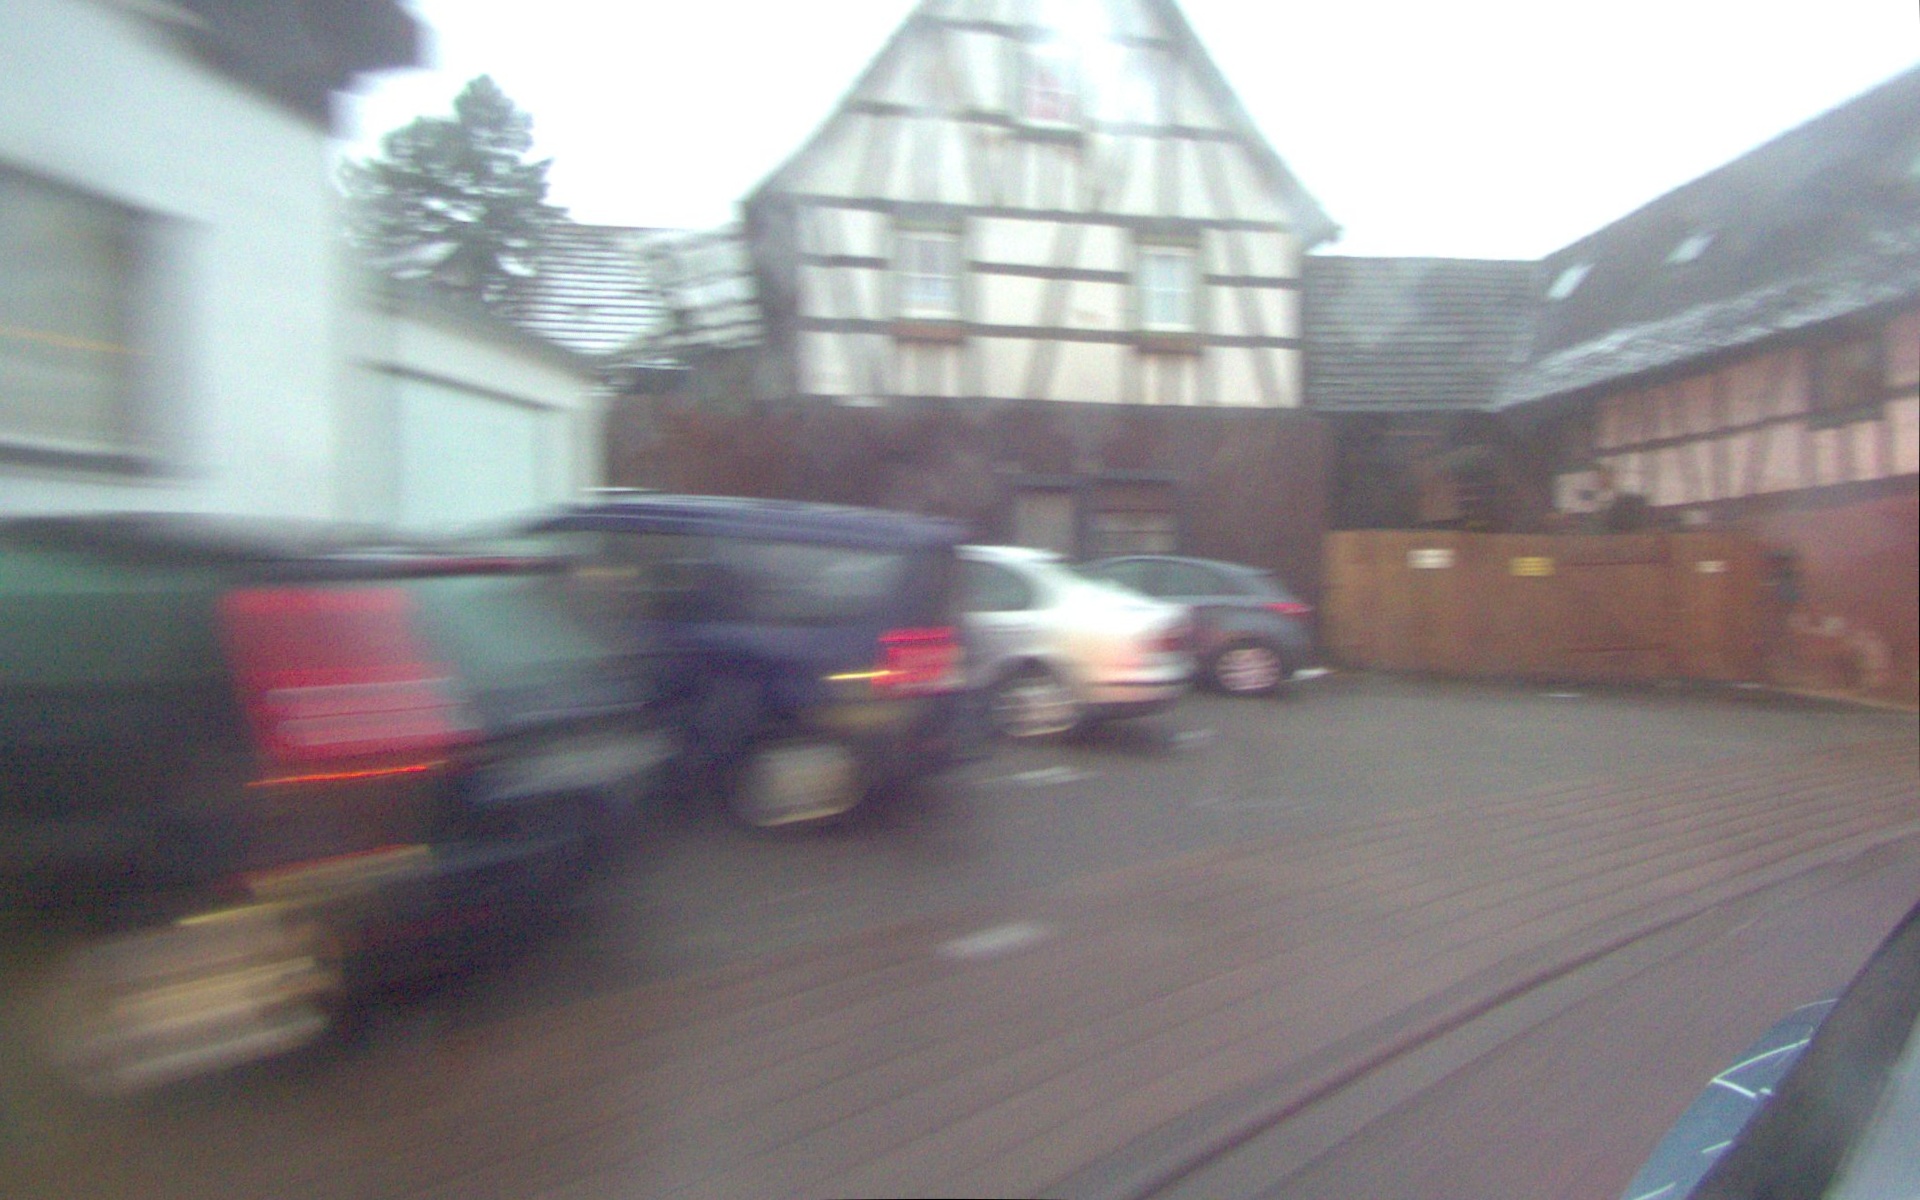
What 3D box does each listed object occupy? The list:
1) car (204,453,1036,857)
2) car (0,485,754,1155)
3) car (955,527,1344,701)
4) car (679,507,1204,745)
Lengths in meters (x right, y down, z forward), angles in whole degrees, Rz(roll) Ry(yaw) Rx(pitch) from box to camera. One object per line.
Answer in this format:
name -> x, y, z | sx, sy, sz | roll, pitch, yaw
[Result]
car -> -1.902, 0.142, 6.090 | 4.410, 1.680, 1.849 | 5, 4, 13
car -> -2.954, 0.367, 3.723 | 3.838, 1.467, 1.881 | 5, 4, 14
car -> 2.019, 0.079, 11.378 | 3.918, 1.533, 1.595 | 4, 4, 8
car -> -0.066, 0.095, 8.412 | 3.980, 1.437, 1.808 | 5, 4, 14
